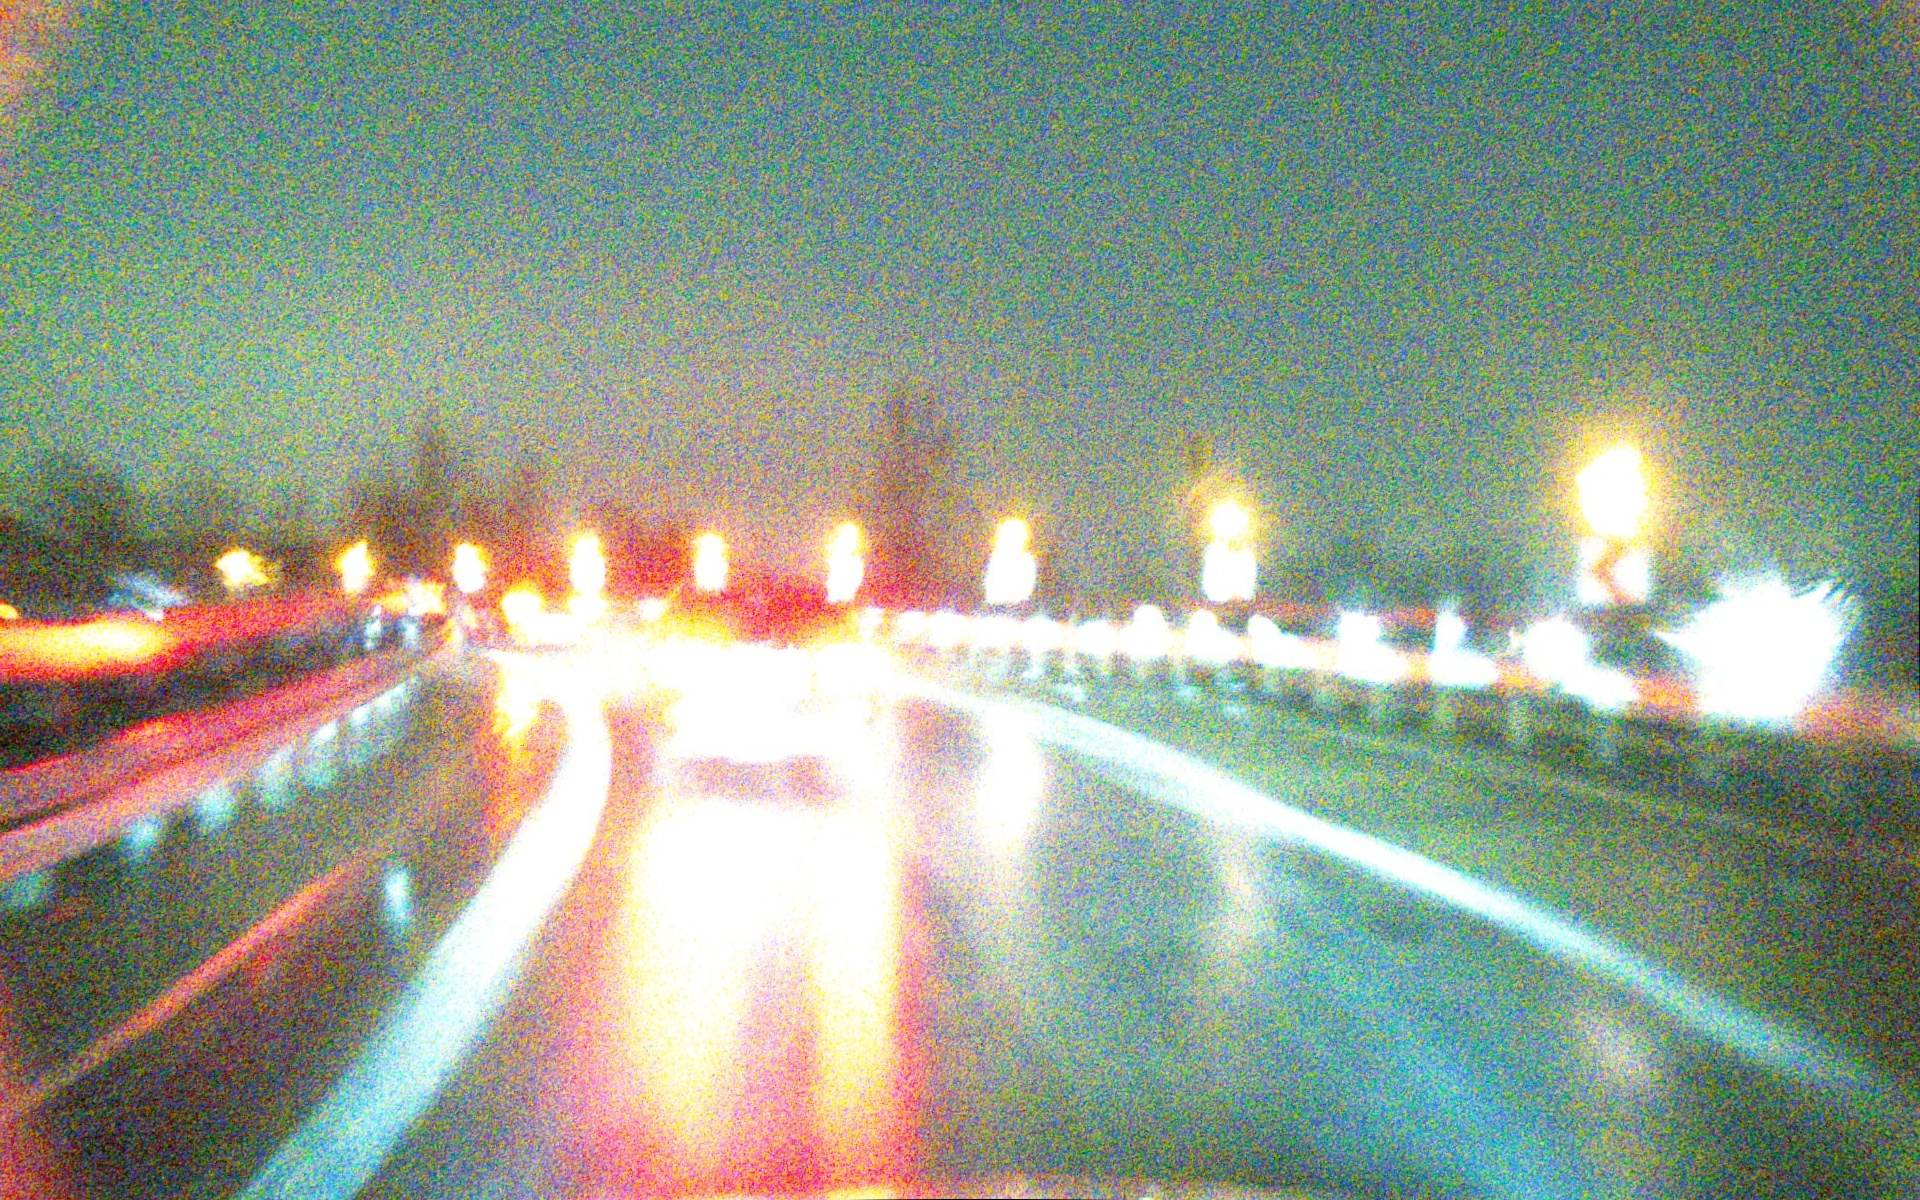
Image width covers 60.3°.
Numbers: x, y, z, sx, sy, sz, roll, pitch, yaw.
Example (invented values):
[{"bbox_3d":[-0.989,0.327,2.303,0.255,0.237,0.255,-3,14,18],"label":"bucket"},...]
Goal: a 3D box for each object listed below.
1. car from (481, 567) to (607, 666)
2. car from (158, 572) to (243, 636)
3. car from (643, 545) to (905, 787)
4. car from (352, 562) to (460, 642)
[{"bbox_3d":[-8.009,0.270,31.608,1.868,1.750,4.020,0,0,-21],"label":"car"},{"bbox_3d":[-25.462,0.094,55.390,1.880,2.032,3.995,-1,1,-35],"label":"car"},{"bbox_3d":[-1.648,0.421,13.644,1.827,1.676,4.059,-1,1,-10],"label":"car"},{"bbox_3d":[-15.098,0.041,44.979,1.878,2.076,3.999,0,0,-33],"label":"car"}]
